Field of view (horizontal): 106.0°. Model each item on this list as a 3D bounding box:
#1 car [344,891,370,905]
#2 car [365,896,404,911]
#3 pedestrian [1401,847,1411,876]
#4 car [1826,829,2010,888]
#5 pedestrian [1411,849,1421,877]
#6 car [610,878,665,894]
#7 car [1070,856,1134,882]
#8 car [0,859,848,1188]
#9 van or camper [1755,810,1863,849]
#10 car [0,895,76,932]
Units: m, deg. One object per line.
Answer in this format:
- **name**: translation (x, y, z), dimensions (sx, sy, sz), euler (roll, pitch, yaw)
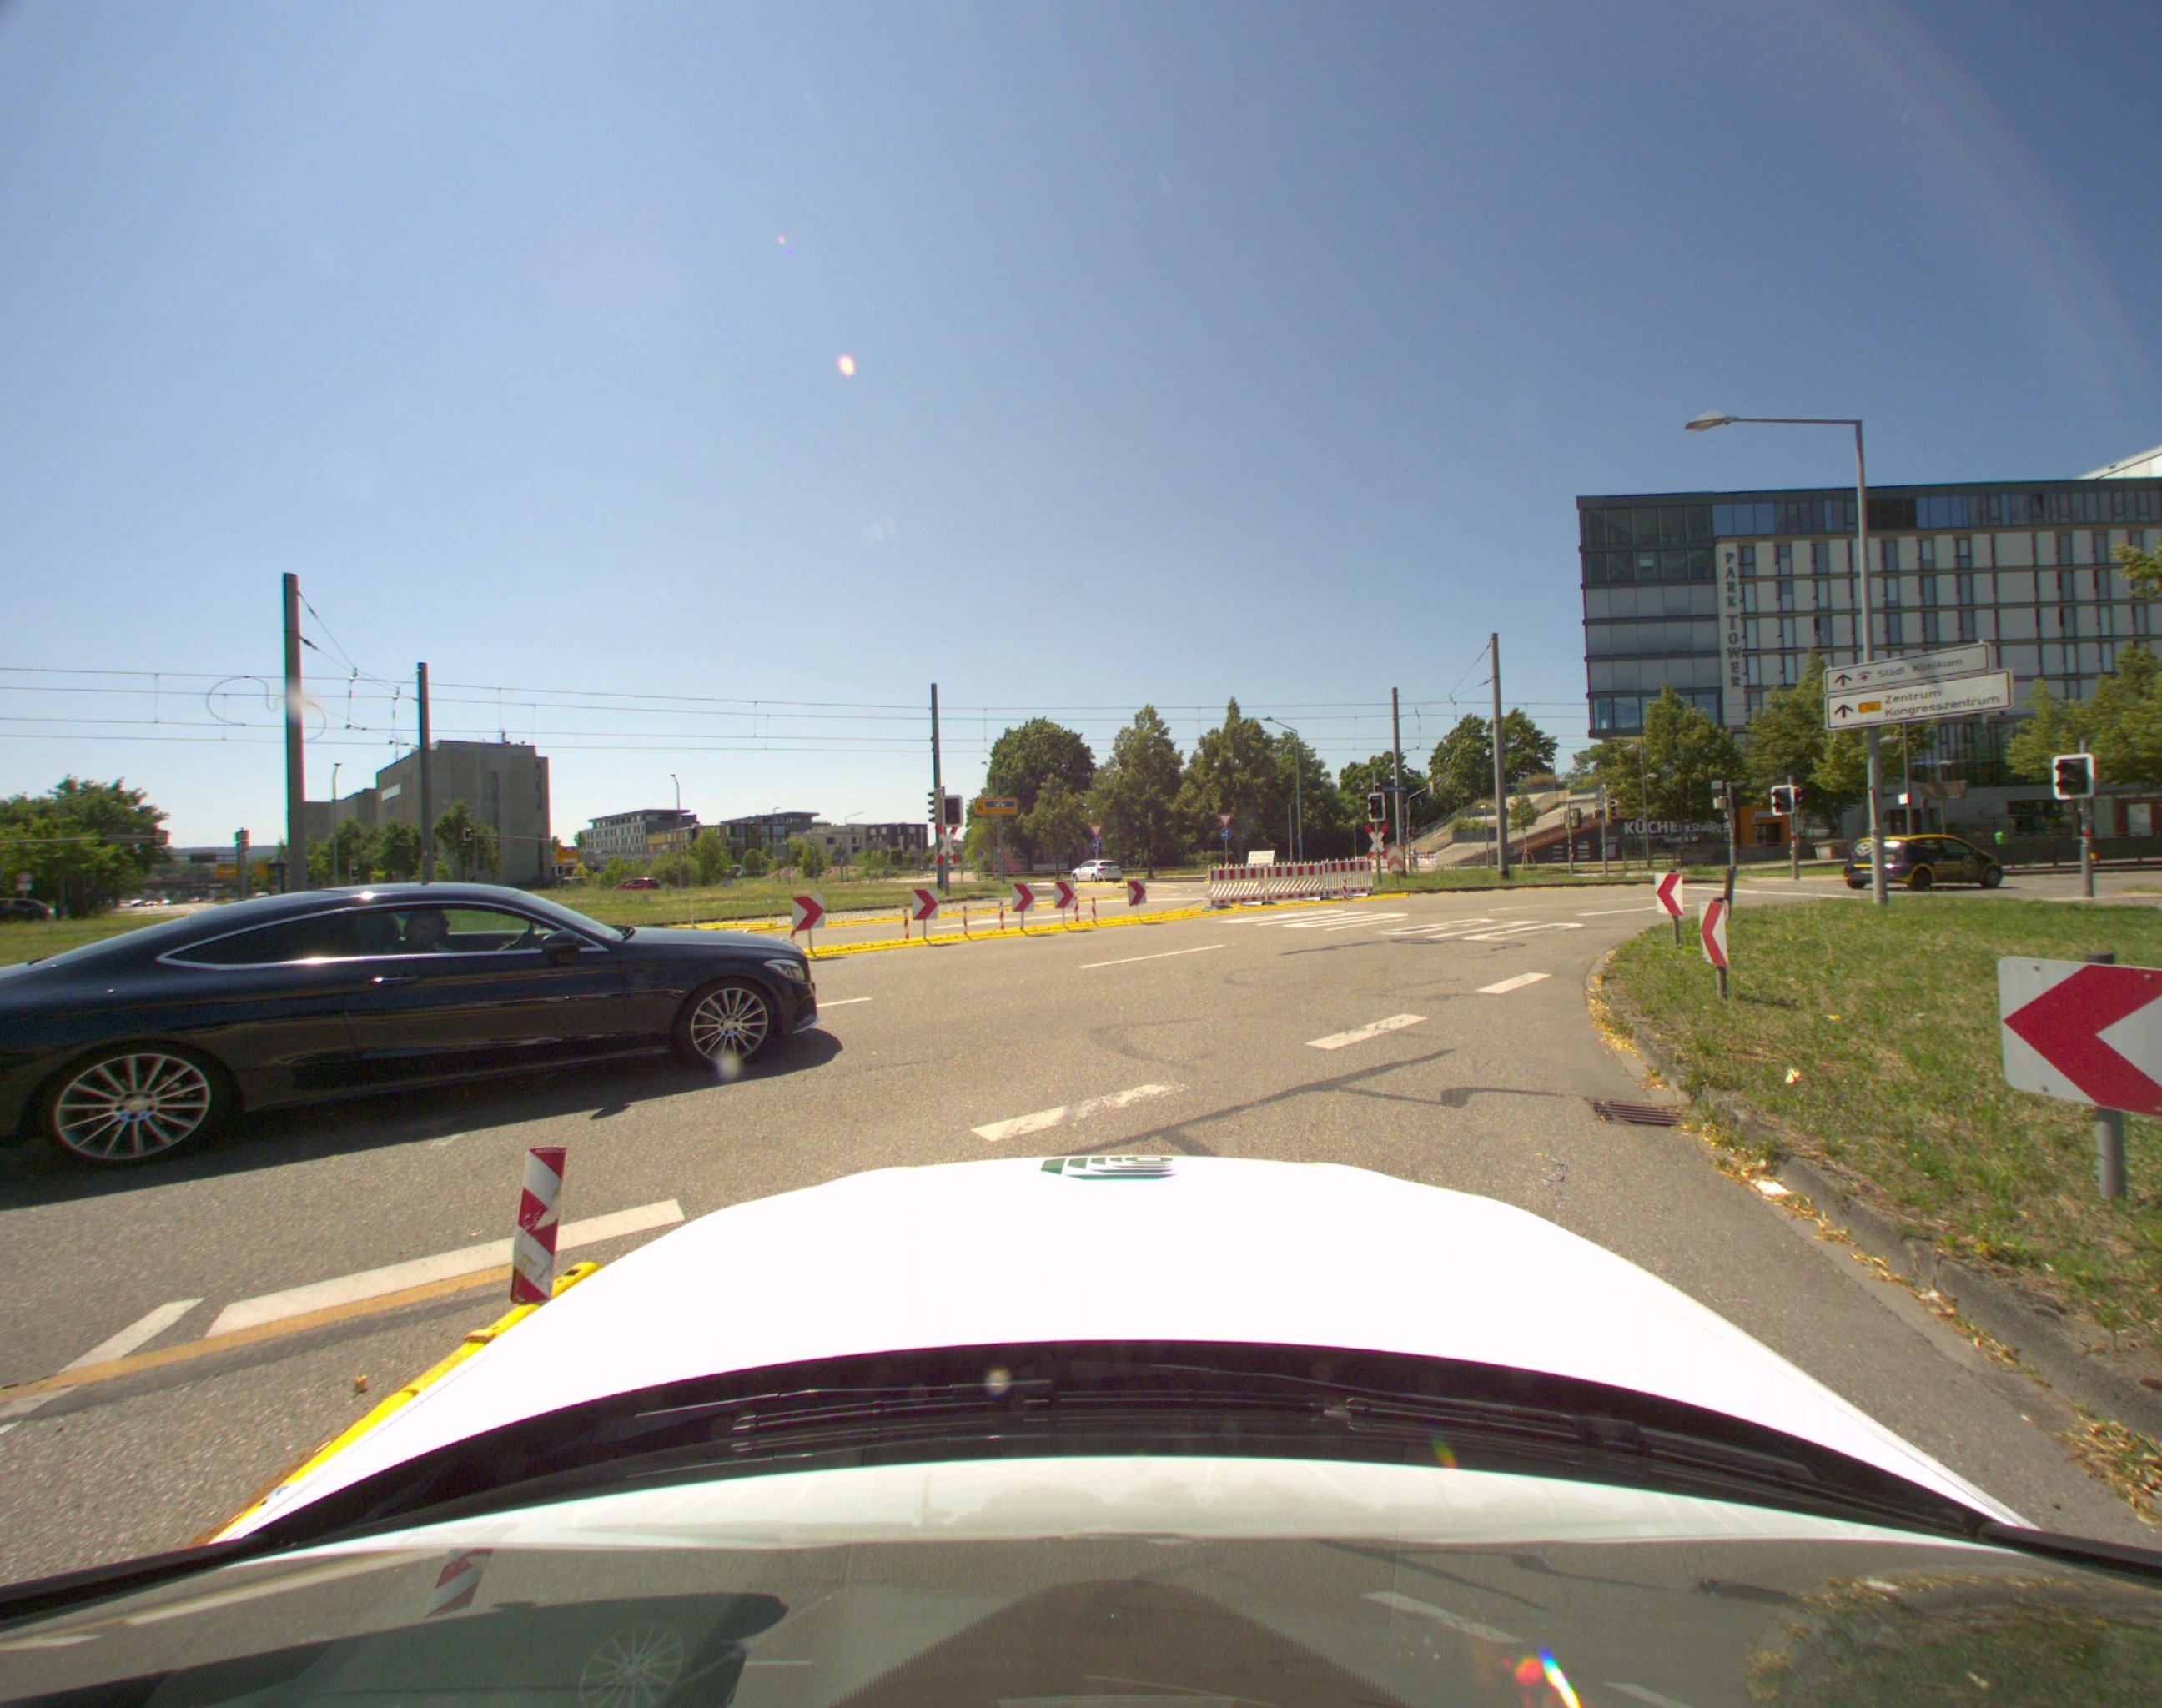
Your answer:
- **car**: translation (-91.271, 5.510, 102.676), dimensions (3.949, 1.618, 2.012), euler (-3, -2, 42)
- **car**: translation (-58.717, 4.178, 68.621), dimensions (3.431, 1.192, 1.565), euler (-2, 0, 33)
- **pedestrian**: translation (20.363, 0.466, 50.958), dimensions (0.446, 1.739, 0.291), euler (-2, -1, -2)
- **car**: translation (22.513, 0.116, 21.941), dimensions (3.977, 1.451, 1.617), euler (-1, -1, -13)
- **pedestrian**: translation (20.933, 0.574, 50.930), dimensions (0.446, 1.739, 0.318), euler (-2, -1, -2)
- **car**: translation (-35.404, 2.574, 65.088), dimensions (3.505, 1.089, 1.494), euler (-2, 0, -7)
- **car**: translation (1.277, 0.929, 50.830), dimensions (2.006, 1.486, 4.324), euler (-2, -1, -30)
- **car**: translation (-4.350, 0.848, 5.531), dimensions (4.975, 1.436, 1.838), euler (-2, 0, -34)
- **van or camper**: translation (58.324, -1.940, 65.297), dimensions (6.750, 2.822, 2.380), euler (-2, -1, -4)
- **car**: translation (-47.794, 2.681, 35.929), dimensions (1.708, 1.461, 4.074), euler (-2, -1, 29)
